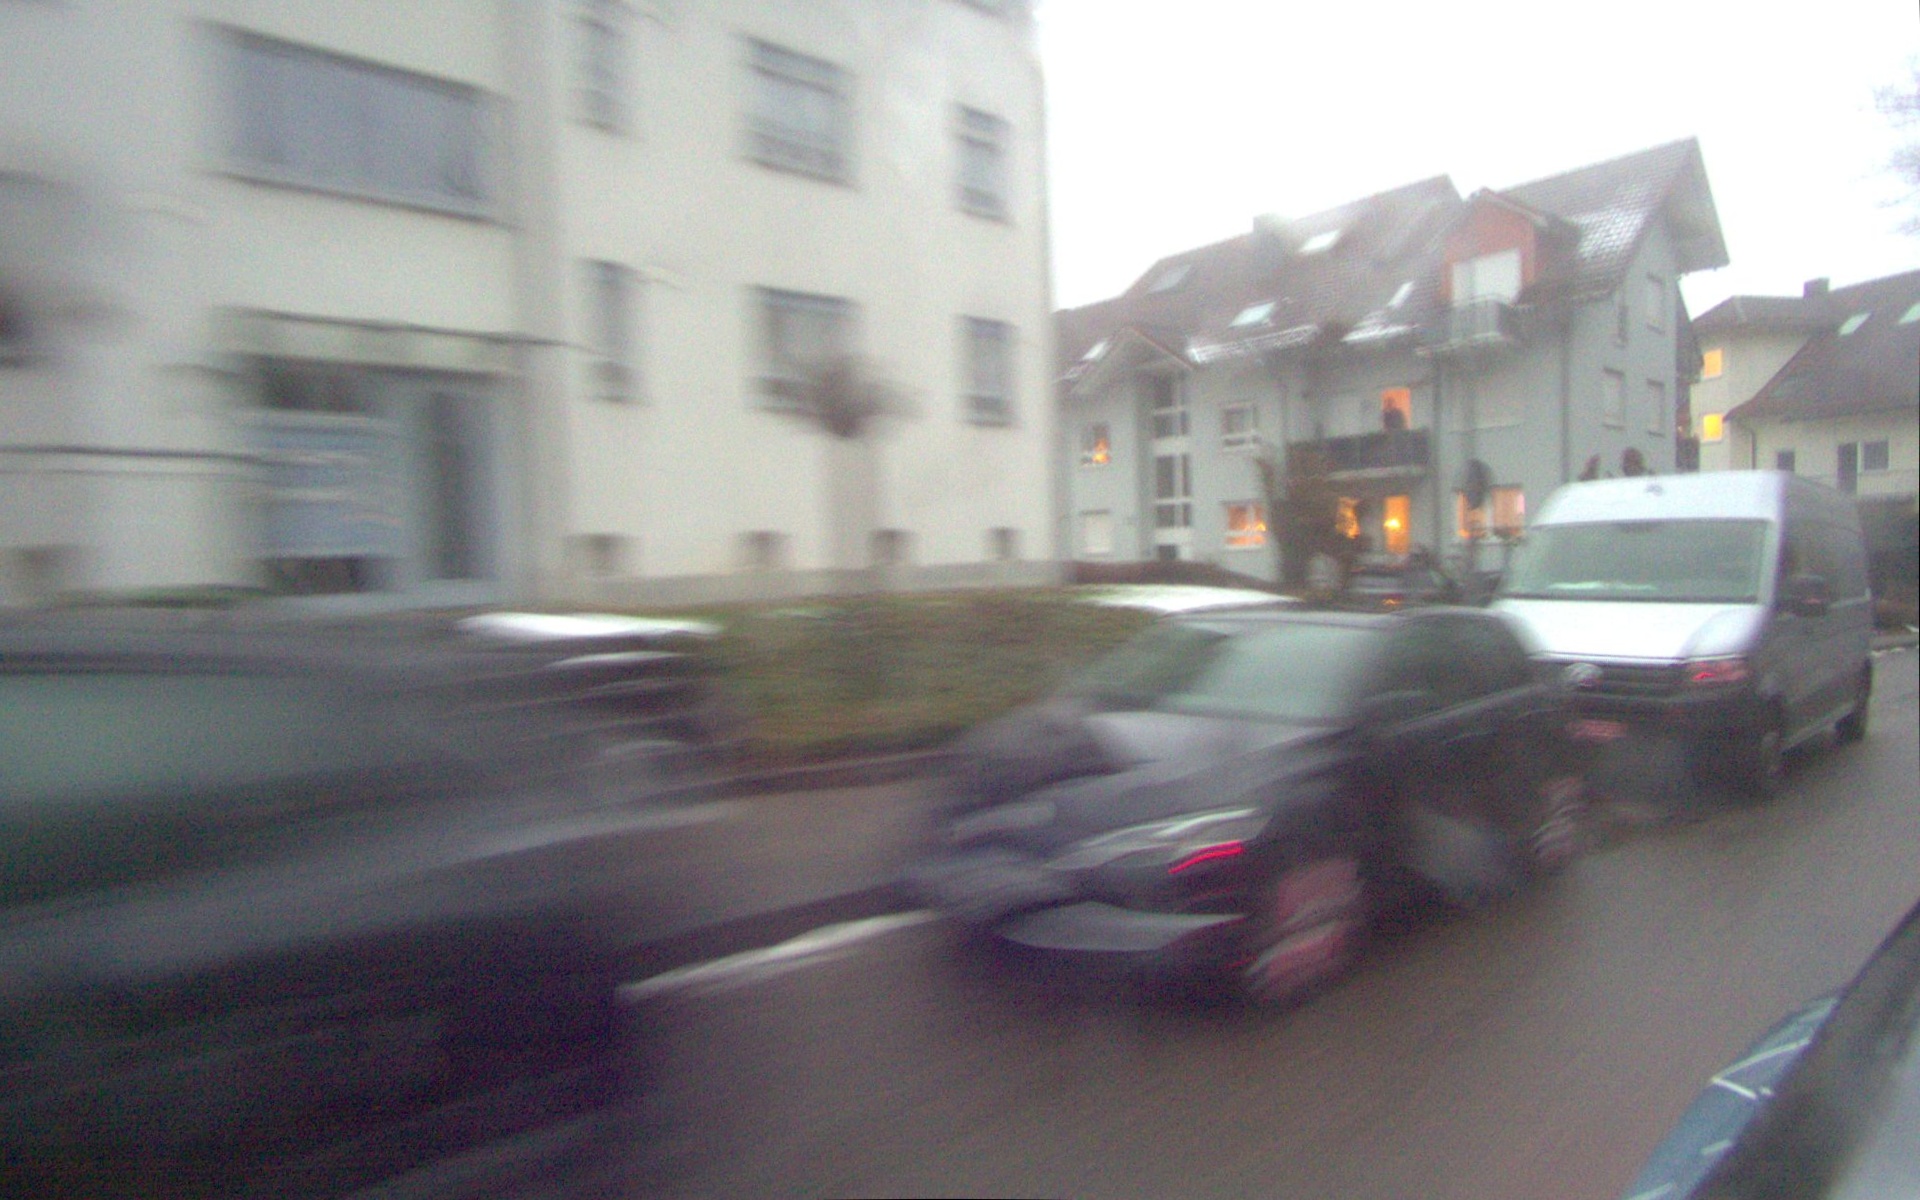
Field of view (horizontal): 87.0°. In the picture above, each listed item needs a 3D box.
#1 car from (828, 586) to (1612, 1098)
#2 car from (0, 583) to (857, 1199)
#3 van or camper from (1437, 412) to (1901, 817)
[{"bbox_3d":[1.518,0.672,4.876,4.051,1.407,1.659,-2,2,-41],"label":"car"},{"bbox_3d":[-2.442,0.712,1.405,4.453,1.407,1.658,-2,2,-41],"label":"car"},{"bbox_3d":[6.866,0.028,9.328,6.676,2.539,2.017,-1,2,-42],"label":"van or camper"}]
